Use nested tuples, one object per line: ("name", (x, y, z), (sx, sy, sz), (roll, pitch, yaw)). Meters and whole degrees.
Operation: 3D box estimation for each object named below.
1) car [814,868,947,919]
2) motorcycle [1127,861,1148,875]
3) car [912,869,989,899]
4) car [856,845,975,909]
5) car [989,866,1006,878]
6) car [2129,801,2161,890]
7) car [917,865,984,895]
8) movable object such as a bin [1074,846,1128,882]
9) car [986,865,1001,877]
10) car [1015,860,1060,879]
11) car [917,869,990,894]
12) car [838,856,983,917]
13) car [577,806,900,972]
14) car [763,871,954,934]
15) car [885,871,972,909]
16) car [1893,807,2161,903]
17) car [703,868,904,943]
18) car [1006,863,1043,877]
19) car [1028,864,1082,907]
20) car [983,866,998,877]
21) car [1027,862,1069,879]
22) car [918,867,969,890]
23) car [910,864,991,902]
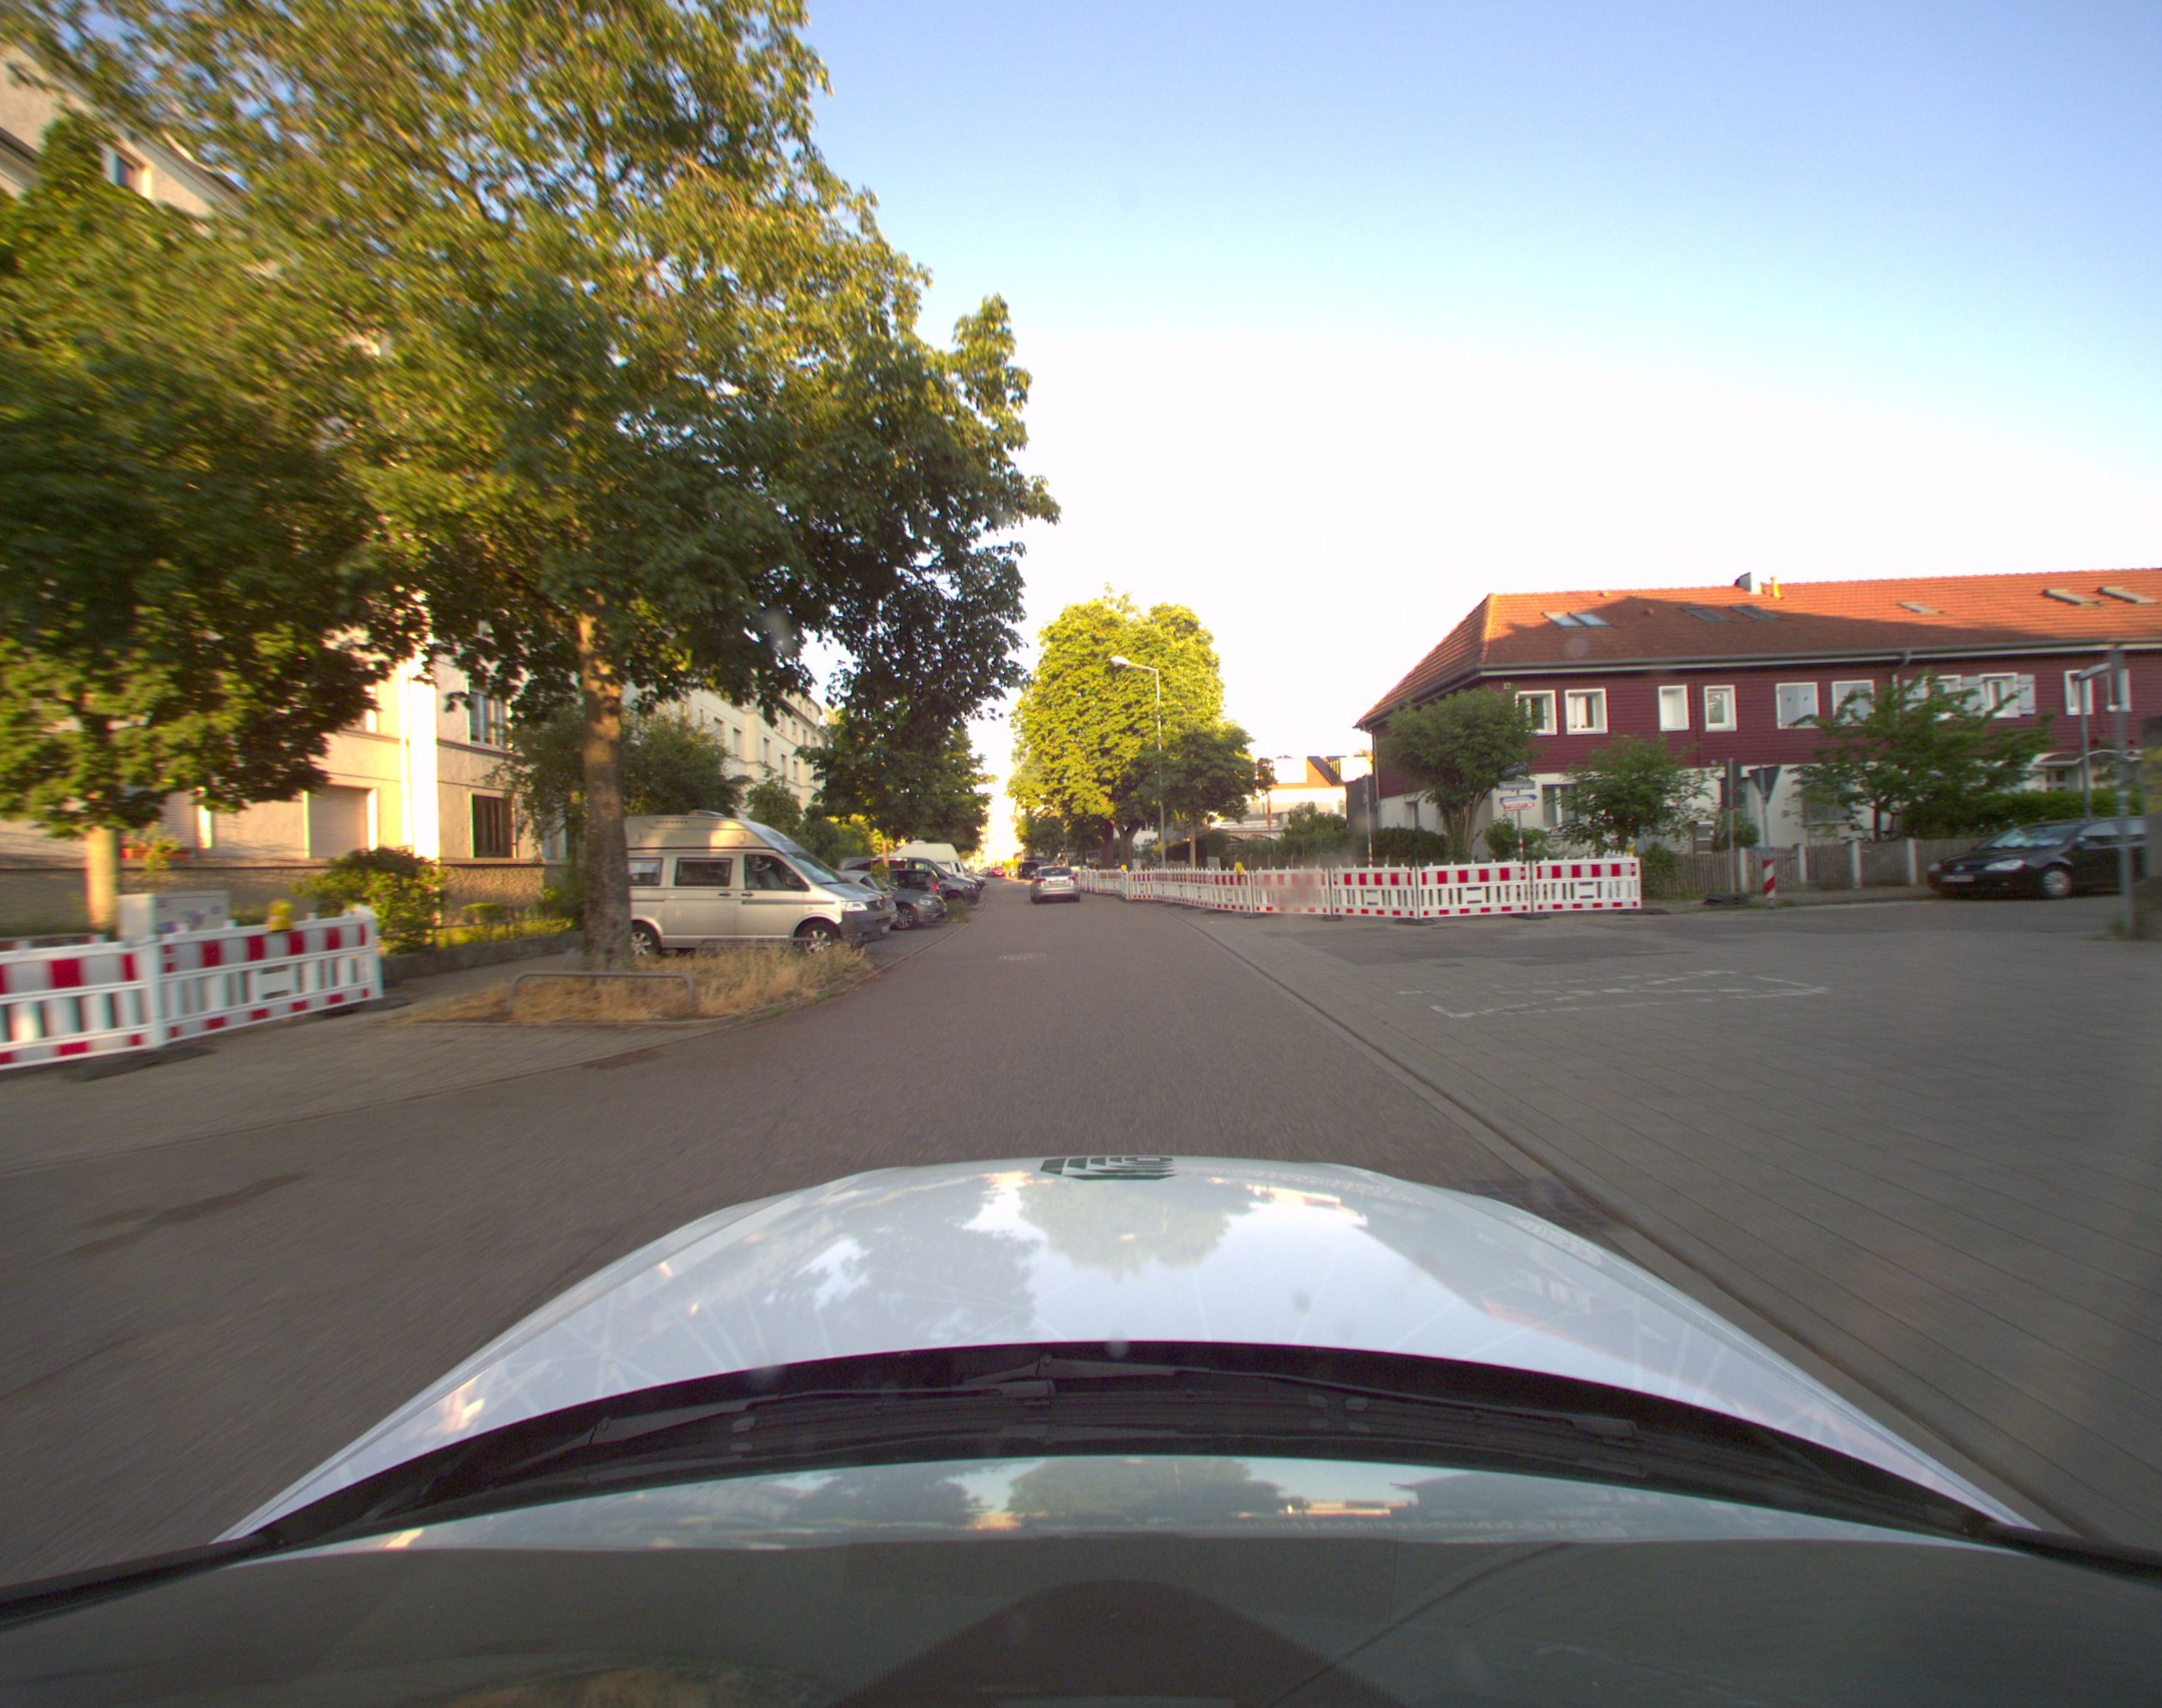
("car", (-6.209, 1.211, 25.526), (3.762, 1.439, 1.653), (-1, -1, -5))
("motorcycle", (4.967, 1.224, 71.794), (1.853, 1.106, 0.575), (-1, -1, -32))
("car", (-7.734, 1.760, 48.284), (4.409, 1.615, 1.892), (-2, -1, -12))
("car", (-6.664, 0.914, 33.281), (4.496, 2.431, 1.996), (-2, -1, -6))
("car", (-10.957, 2.325, 106.710), (1.731, 1.483, 3.542), (-2, -1, -12))
("car", (23.584, -0.230, 15.809), (3.976, 1.768, 1.999), (-2, -1, -2))
("car", (-9.562, 1.863, 60.056), (4.770, 2.014, 1.994), (-2, -1, -9))
("movable object such as a bin", (1.360, 0.726, 58.481), (2.631, 2.403, 5.174), (-2, -1, -13))
("car", (-12.082, 2.385, 111.966), (1.665, 1.573, 3.426), (-2, -1, -12))
("car", (-4.758, 1.697, 89.667), (4.567, 2.023, 2.089), (-2, -1, -16))
("car", (-8.582, 1.841, 55.026), (4.769, 1.470, 1.876), (-2, -1, -8))
("car", (-5.821, 1.083, 28.280), (4.667, 1.874, 1.996), (-2, -1, -6))
("car", (-5.795, 0.574, 14.234), (4.714, 2.569, 2.001), (-2, -1, 1))
("car", (-5.420, 1.177, 20.219), (4.230, 1.394, 1.684), (-1, -1, 0))
("car", (-7.223, 1.689, 38.785), (3.853, 1.595, 1.782), (-2, -1, -5))
("car", (18.678, 0.011, 15.761), (3.976, 1.663, 1.999), (-2, -1, -2))
("car", (-5.908, 1.086, 17.691), (3.793, 1.522, 1.651), (0, -1, -2))
("car", (-6.948, 1.970, 99.452), (4.161, 1.572, 1.786), (-1, -1, -19))
("car", (-1.066, 1.185, 31.636), (1.805, 1.488, 3.991), (-2, -1, -6))
("car", (-12.968, 2.488, 116.869), (1.810, 1.613, 3.565), (-2, -1, -12))
("car", (-3.480, 1.683, 84.960), (3.999, 1.651, 1.754), (-1, -1, -19))
("car", (-9.676, 1.740, 57.548), (3.410, 1.484, 1.755), (-2, -1, -6))
("car", (-6.597, 1.458, 41.481), (3.853, 1.777, 1.840), (-2, -1, -5))
